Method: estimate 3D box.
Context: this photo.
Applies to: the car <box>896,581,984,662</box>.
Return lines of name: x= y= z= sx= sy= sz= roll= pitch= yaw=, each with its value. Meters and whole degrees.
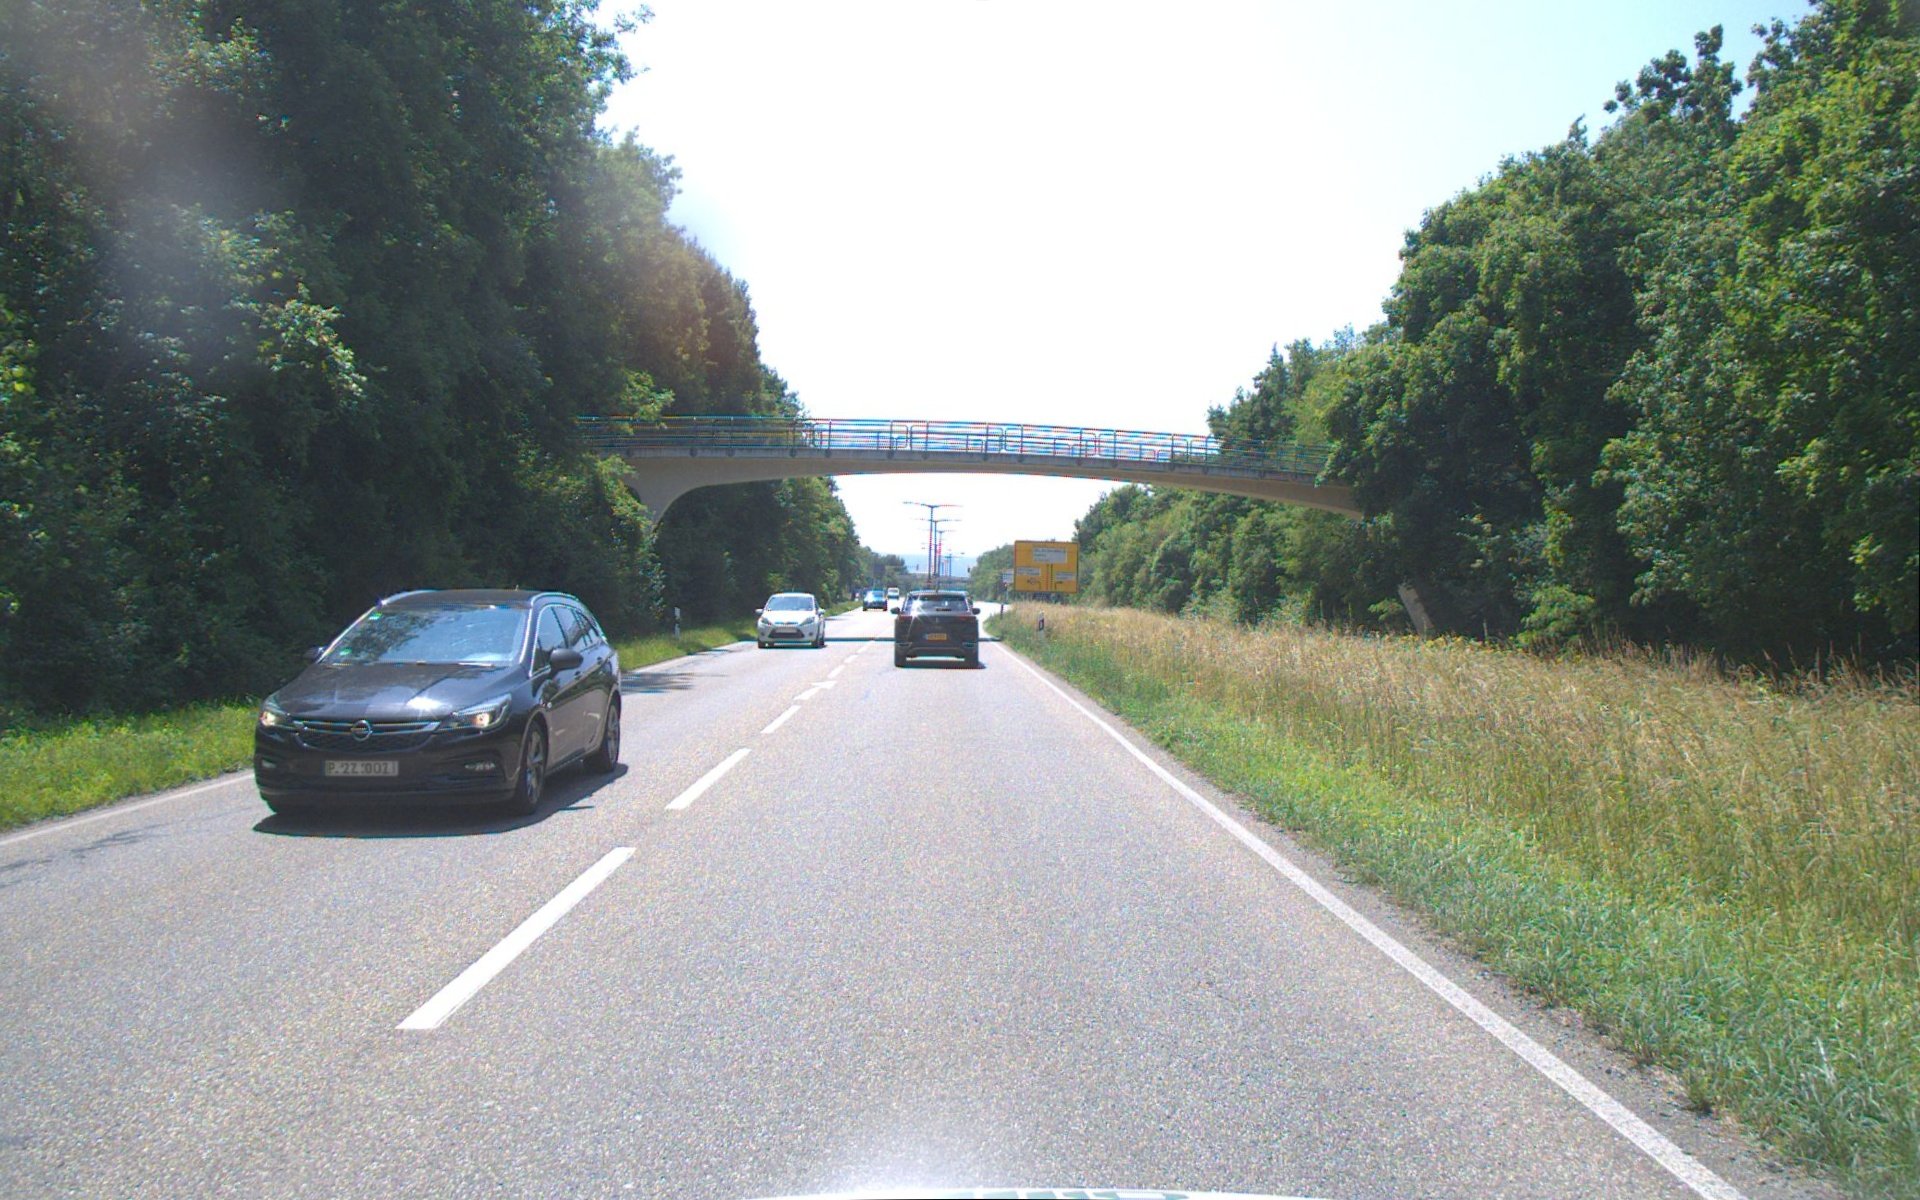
car: x=-0.407 y=0.429 z=35.002 sx=1.719 sy=1.583 sz=4.000 roll=1 pitch=0 yaw=0

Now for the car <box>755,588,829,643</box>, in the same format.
car: x=-4.627 y=0.395 z=45.957 sx=1.643 sy=1.458 sz=3.772 roll=0 pitch=0 yaw=0

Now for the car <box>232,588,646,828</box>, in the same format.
car: x=-3.612 y=0.651 z=12.280 sx=1.747 sy=1.475 sz=4.110 roll=0 pitch=0 yaw=0

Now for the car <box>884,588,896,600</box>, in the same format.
car: x=-10.125 y=-0.835 z=239.564 sx=1.696 sy=1.717 sz=4.094 roll=-1 pitch=1 yaw=-1

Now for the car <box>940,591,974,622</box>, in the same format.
car: x=-0.162 y=0.323 z=86.770 sx=1.760 sy=1.611 sz=4.000 roll=0 pitch=0 yaw=-1

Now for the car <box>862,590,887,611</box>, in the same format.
car: x=-6.952 y=0.006 z=134.669 sx=1.786 sy=1.617 sz=4.418 roll=-1 pitch=0 yaw=-1
